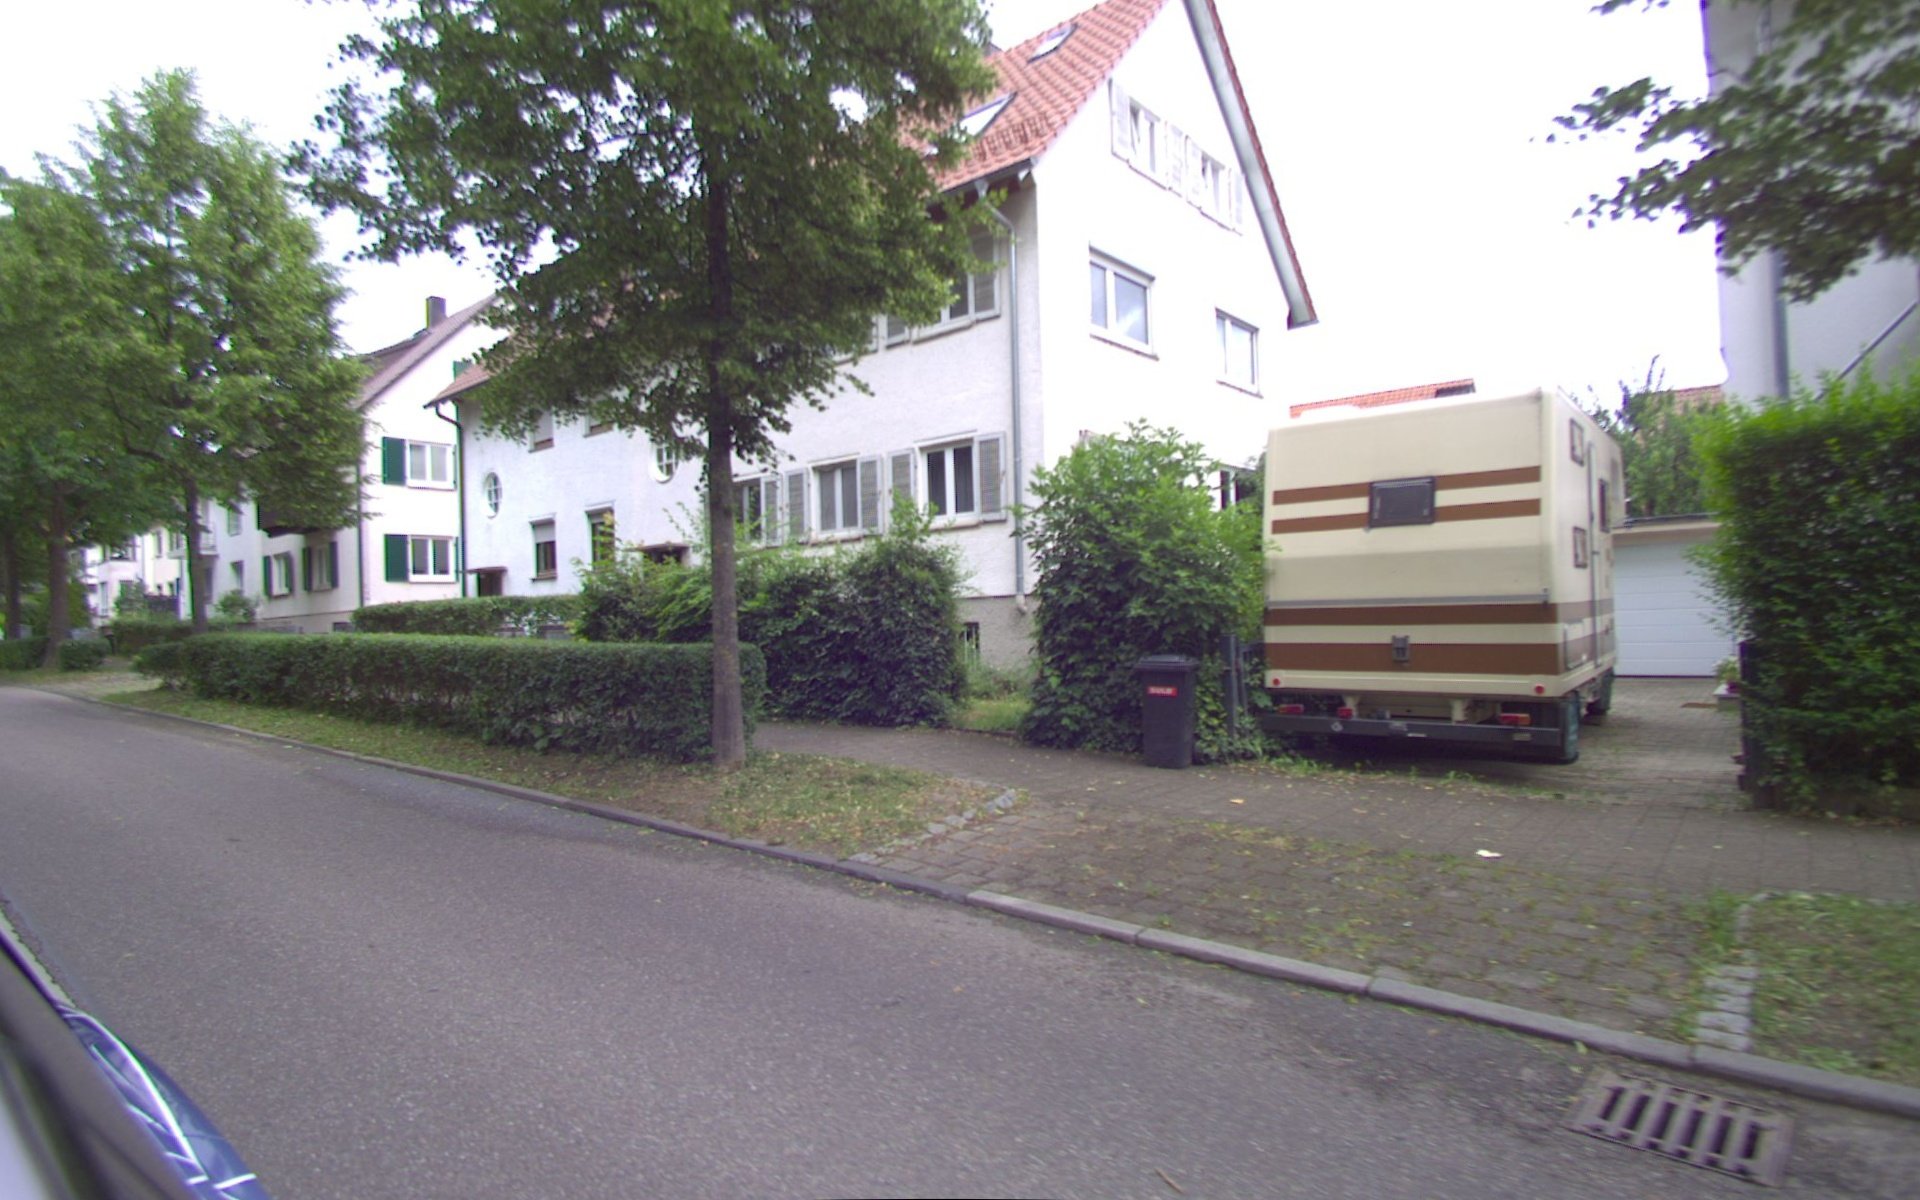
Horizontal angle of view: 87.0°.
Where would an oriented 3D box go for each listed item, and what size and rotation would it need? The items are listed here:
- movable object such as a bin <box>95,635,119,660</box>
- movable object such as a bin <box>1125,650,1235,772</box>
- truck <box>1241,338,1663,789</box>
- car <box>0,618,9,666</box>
[{"bbox_3d":[-32.751,1.831,38.871,0.639,0.947,0.555,-2,-2,34],"label":"movable object such as a bin"},{"bbox_3d":[1.827,0.896,8.420,0.693,0.933,0.574,-2,-2,43],"label":"movable object such as a bin"},{"bbox_3d":[5.213,-0.259,10.116,2.515,3.154,5.739,-2,-1,39],"label":"truck"},{"bbox_3d":[-37.144,1.596,37.639,4.444,1.767,1.808,-2,0,36],"label":"car"}]
